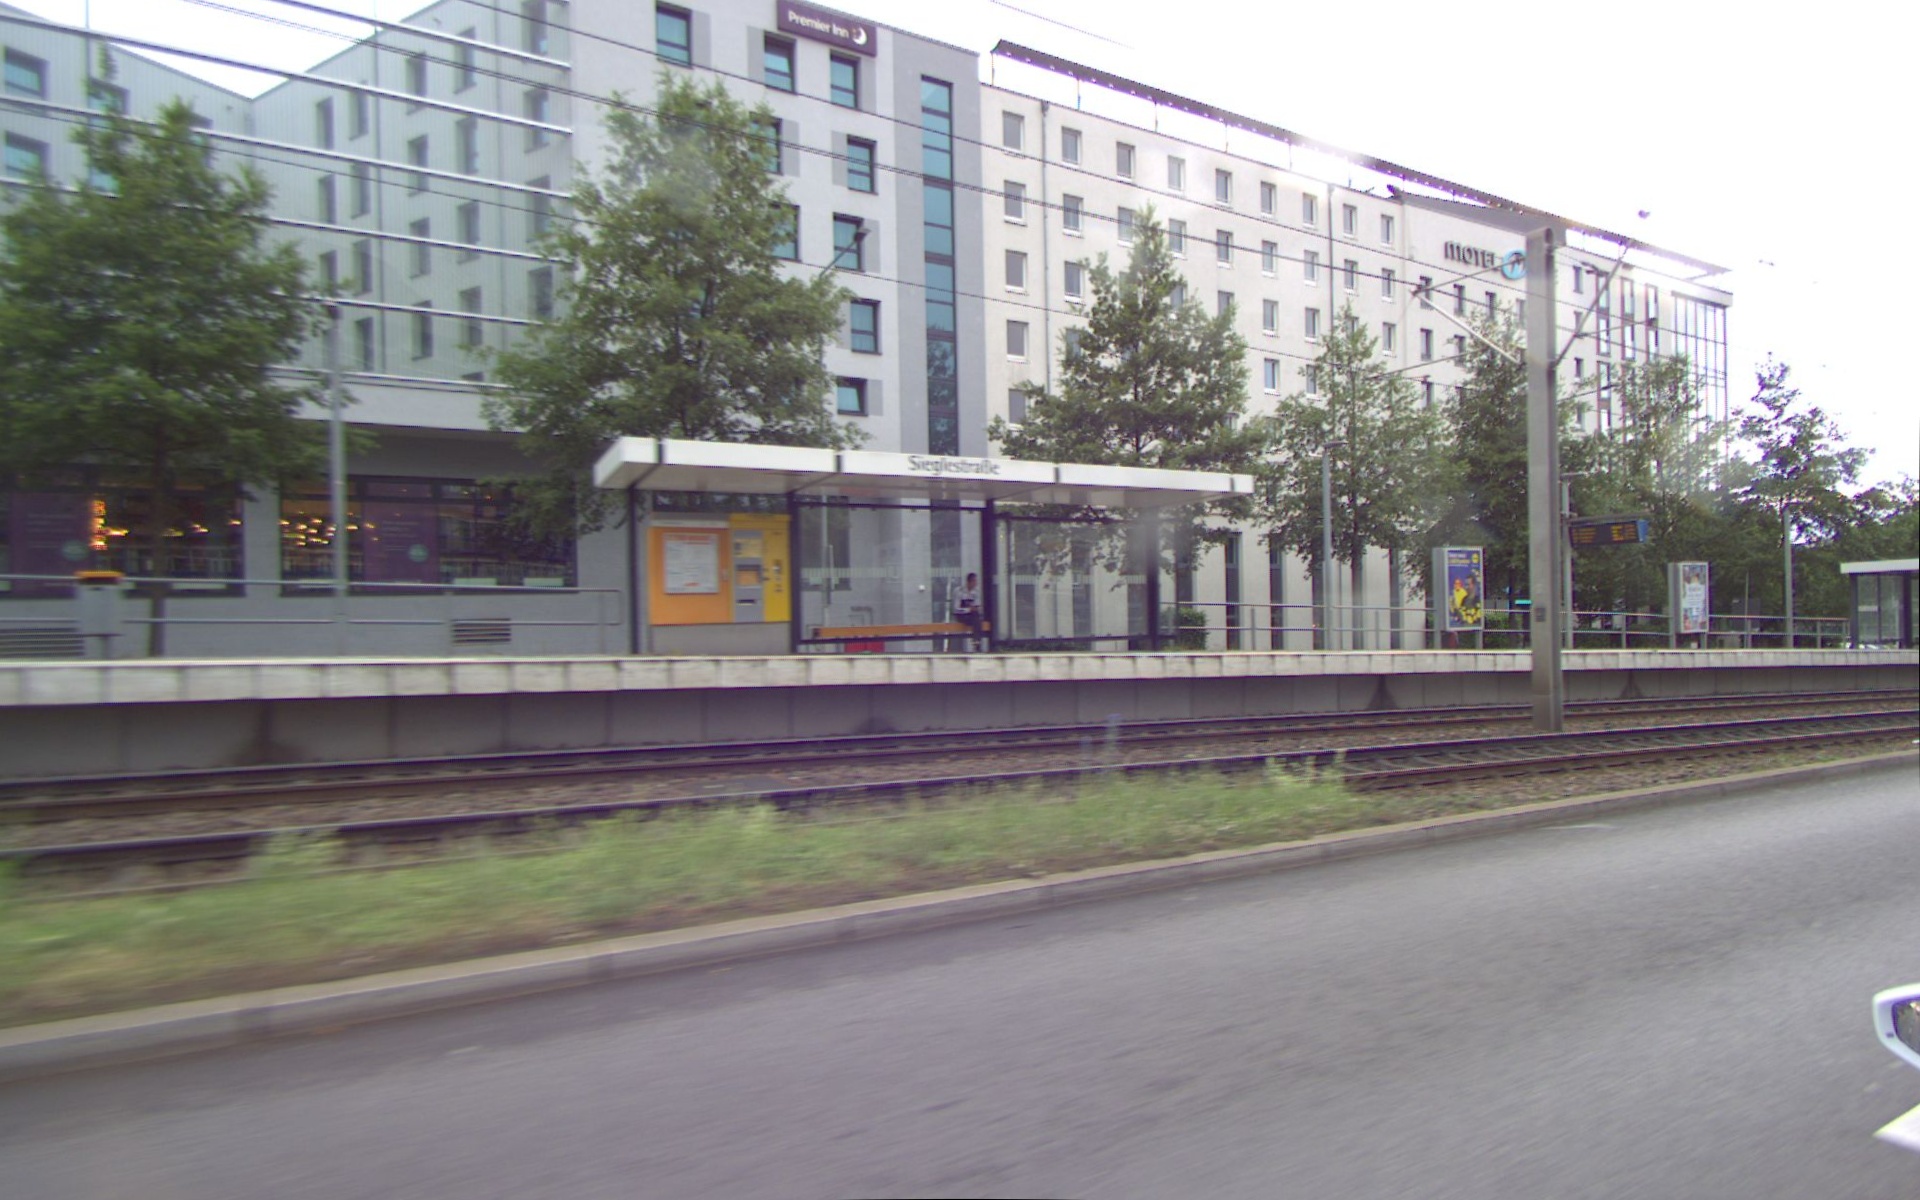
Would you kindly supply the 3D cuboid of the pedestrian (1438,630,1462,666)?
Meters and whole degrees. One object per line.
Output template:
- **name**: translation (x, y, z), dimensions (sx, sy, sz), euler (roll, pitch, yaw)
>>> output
- **pedestrian**: translation (22.655, 2.211, 46.440), dimensions (0.825, 1.599, 0.597), euler (2, 0, -29)

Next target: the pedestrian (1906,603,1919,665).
- **pedestrian**: translation (32.316, 1.145, 33.223), dimensions (1.254, 2.040, 1.122), euler (2, 0, -27)

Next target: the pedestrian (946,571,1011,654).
- **pedestrian**: translation (0.290, 0.210, 16.392), dimensions (0.676, 1.317, 0.957), euler (1, -1, -29)
